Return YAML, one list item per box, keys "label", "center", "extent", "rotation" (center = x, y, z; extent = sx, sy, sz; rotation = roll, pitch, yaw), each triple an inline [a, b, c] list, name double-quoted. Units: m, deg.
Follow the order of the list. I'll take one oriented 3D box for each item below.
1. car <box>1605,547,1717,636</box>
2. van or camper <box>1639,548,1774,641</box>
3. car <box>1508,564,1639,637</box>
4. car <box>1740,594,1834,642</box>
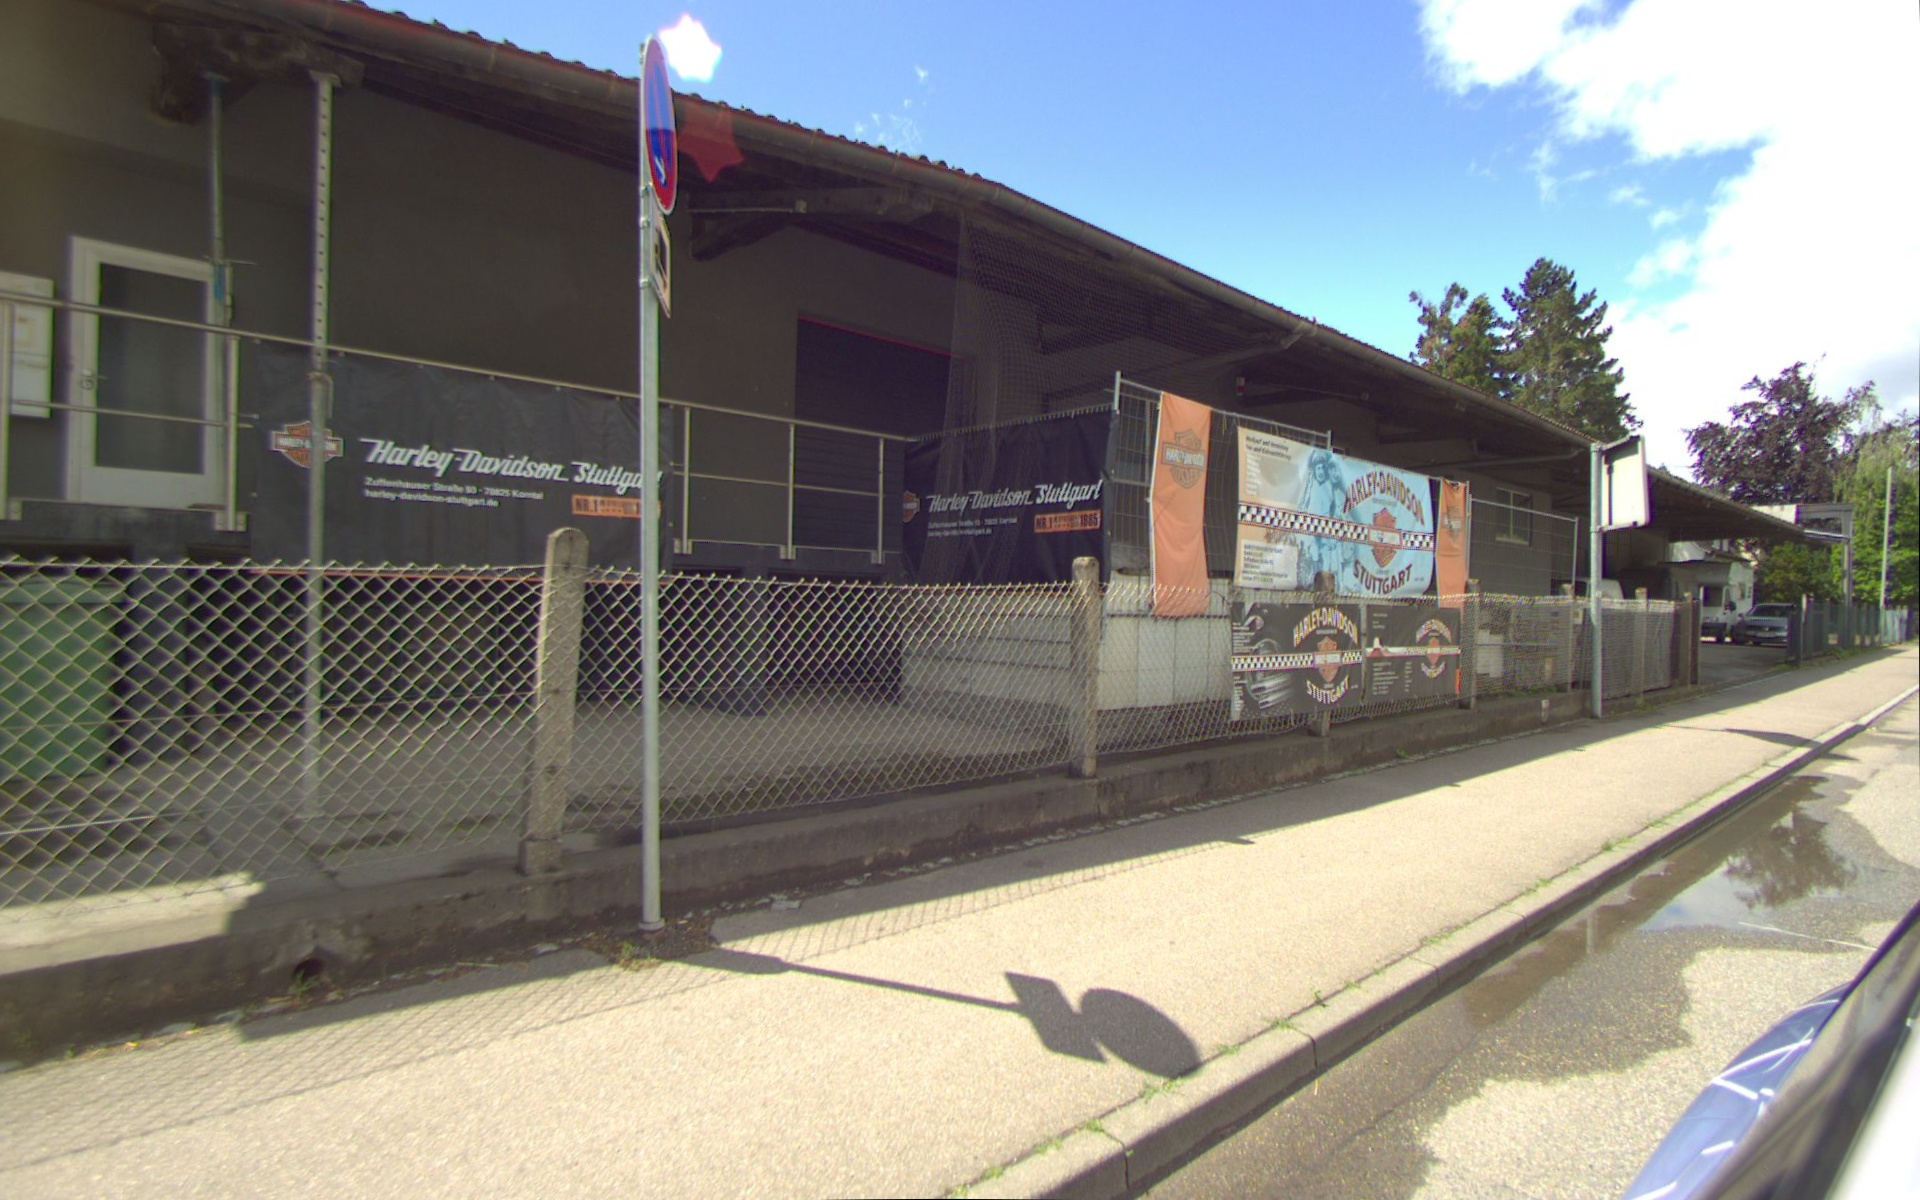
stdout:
- label: "car"
  center: [23.174, -0.212, 33.358]
  extent: [5.406, 2.715, 2.019]
  rotation: [2, -1, -44]
- label: "van or camper"
  center: [27.597, -0.204, 37.292]
  extent: [6.798, 3.099, 2.883]
  rotation: [0, 1, -44]
- label: "car"
  center: [17.802, 0.031, 29.254]
  extent: [4.770, 1.934, 1.996]
  rotation: [1, 0, -43]
- label: "car"
  center: [27.749, 0.594, 33.901]
  extent: [4.842, 1.508, 1.767]
  rotation: [1, 0, -43]
